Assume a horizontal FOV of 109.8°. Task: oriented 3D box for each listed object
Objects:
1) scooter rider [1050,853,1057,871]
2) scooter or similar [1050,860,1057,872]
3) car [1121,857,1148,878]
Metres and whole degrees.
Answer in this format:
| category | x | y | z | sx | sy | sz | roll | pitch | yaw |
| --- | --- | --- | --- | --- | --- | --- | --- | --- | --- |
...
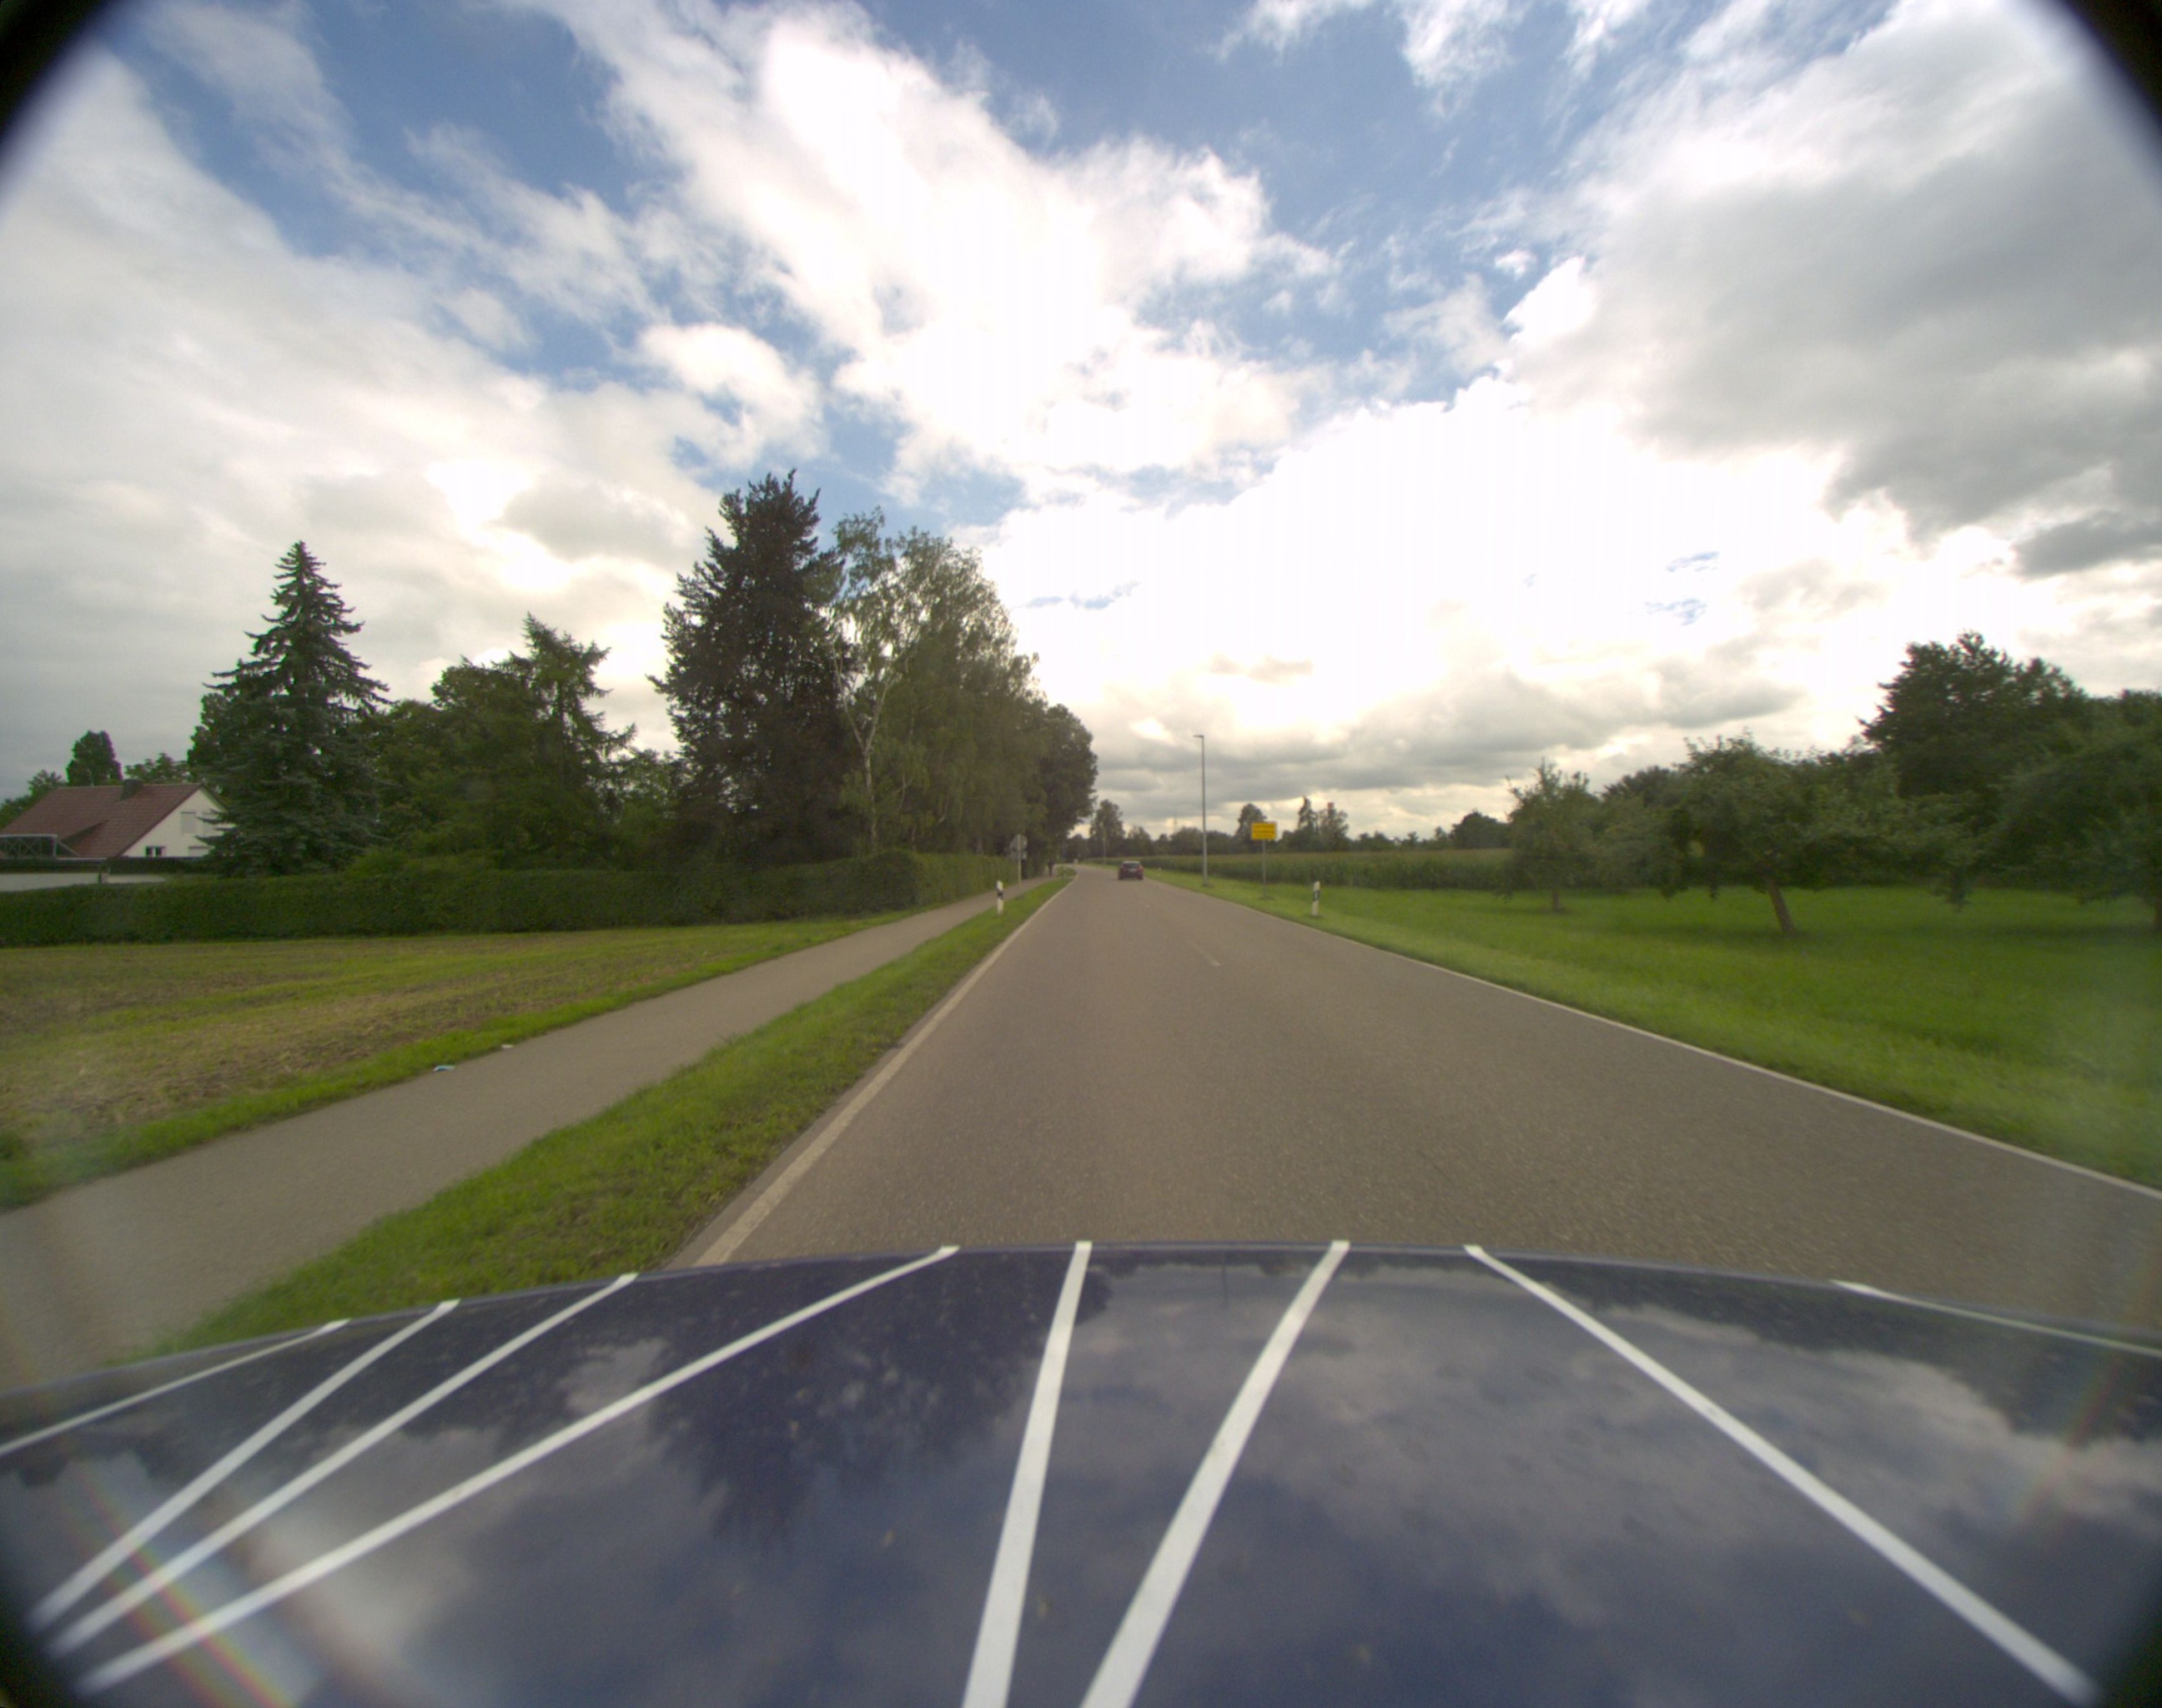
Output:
| category | x | y | z | sx | sy | sz | roll | pitch | yaw |
| --- | --- | --- | --- | --- | --- | --- | --- | --- | --- |
| scooter rider | -2.882 | 0.855 | 80.425 | 0.644 | 1.954 | 0.786 | -2 | 0 | 1 |
| scooter or similar | -2.882 | 1.263 | 80.482 | 0.650 | 1.157 | 1.695 | -2 | 0 | 1 |
| car | 4.146 | 1.032 | 59.170 | 1.869 | 1.543 | 4.182 | 1 | 0 | 1 |
